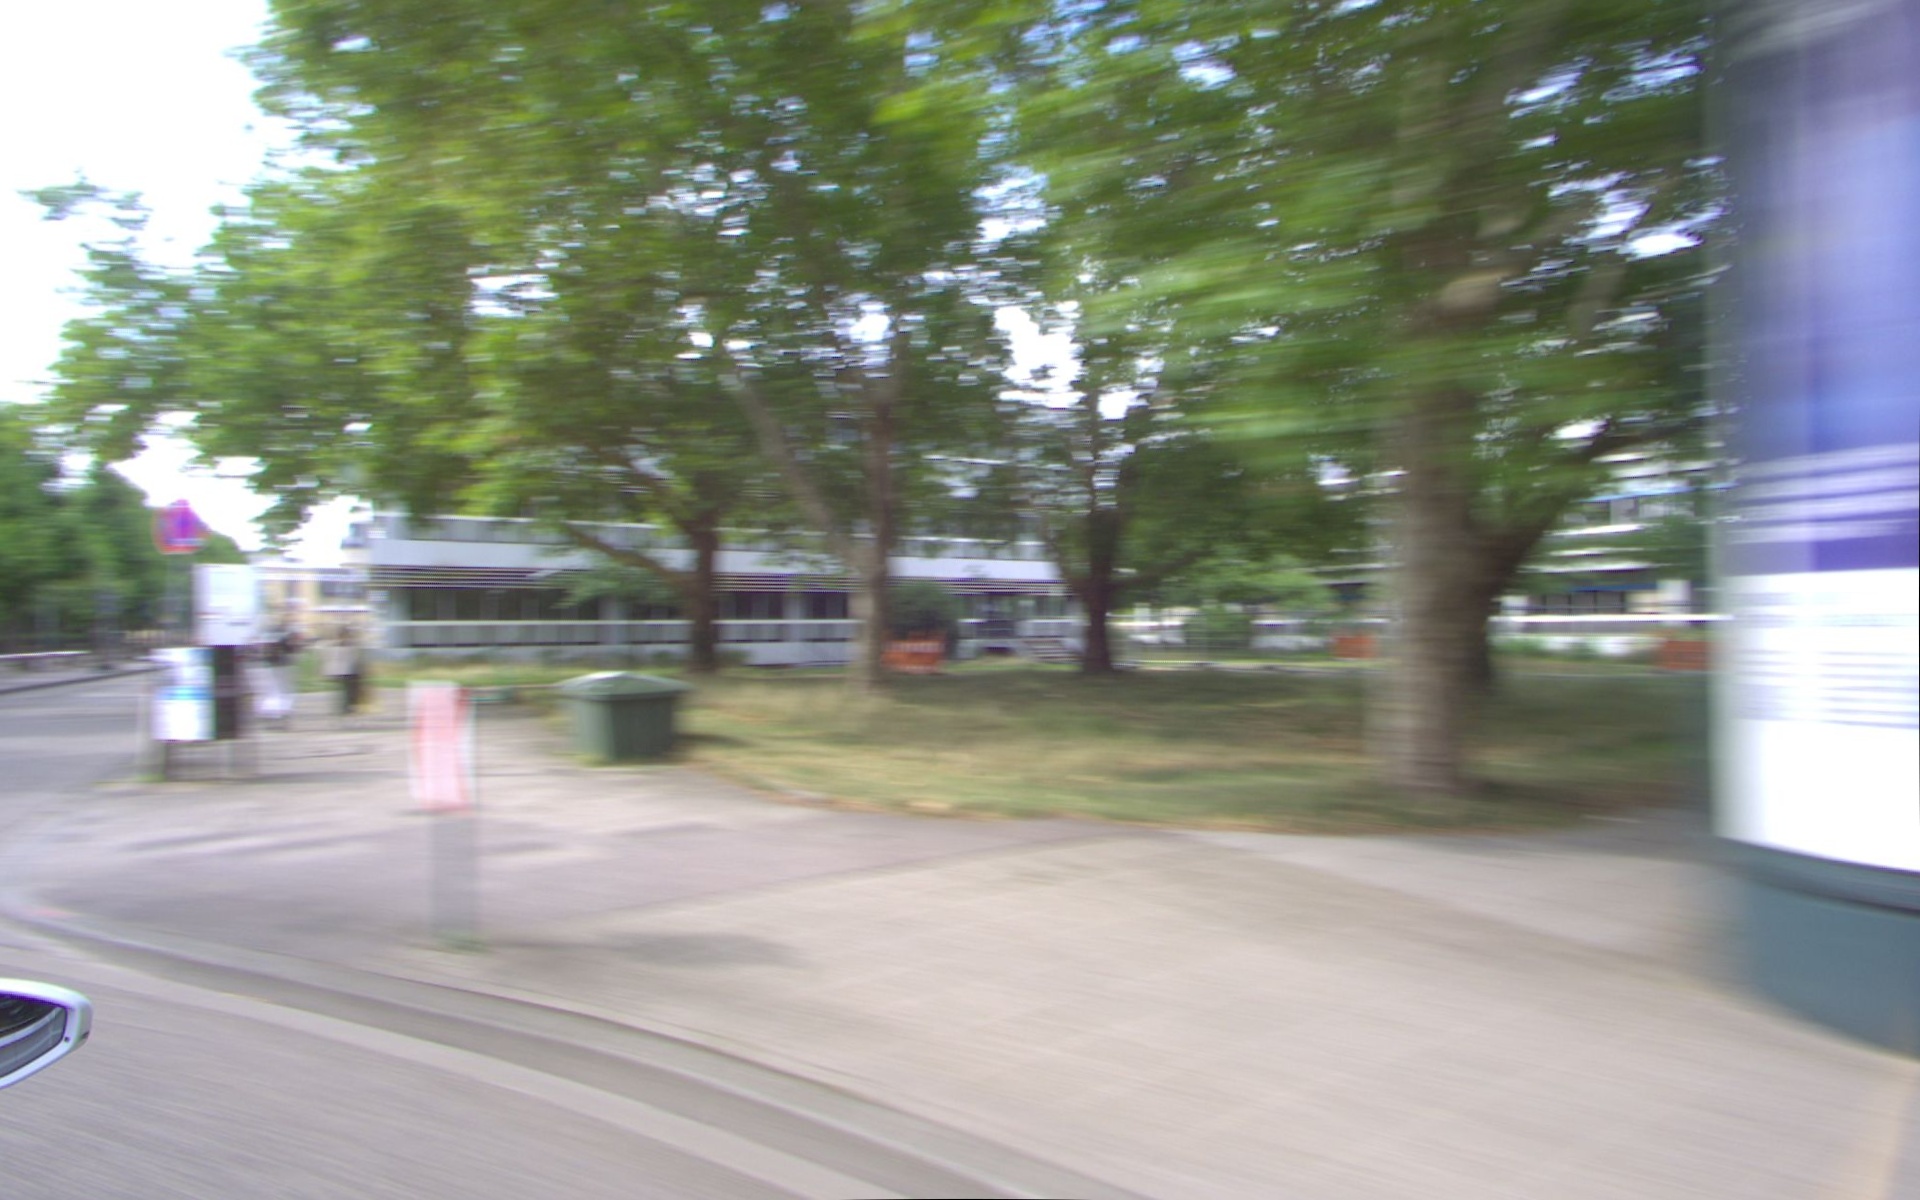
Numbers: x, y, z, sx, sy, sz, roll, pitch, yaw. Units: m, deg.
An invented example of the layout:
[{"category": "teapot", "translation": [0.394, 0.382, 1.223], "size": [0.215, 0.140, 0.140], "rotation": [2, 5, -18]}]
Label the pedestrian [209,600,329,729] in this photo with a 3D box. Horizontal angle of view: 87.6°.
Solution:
[{"category": "pedestrian", "translation": [-9.905, 0.916, 14.418], "size": [0.945, 1.764, 1.255], "rotation": [2, -1, -10]}]

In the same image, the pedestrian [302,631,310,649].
[{"category": "pedestrian", "translation": [-60.846, 3.695, 93.216], "size": [0.456, 1.646, 0.626], "rotation": [2, -2, -44]}]

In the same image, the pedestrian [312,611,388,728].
[{"category": "pedestrian", "translation": [-9.048, 1.018, 14.878], "size": [0.886, 1.662, 0.848], "rotation": [2, -1, -31]}]

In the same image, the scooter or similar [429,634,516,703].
[{"category": "scooter or similar", "translation": [-9.507, 1.329, 19.542], "size": [1.436, 1.285, 0.566], "rotation": [2, -2, -35]}]
